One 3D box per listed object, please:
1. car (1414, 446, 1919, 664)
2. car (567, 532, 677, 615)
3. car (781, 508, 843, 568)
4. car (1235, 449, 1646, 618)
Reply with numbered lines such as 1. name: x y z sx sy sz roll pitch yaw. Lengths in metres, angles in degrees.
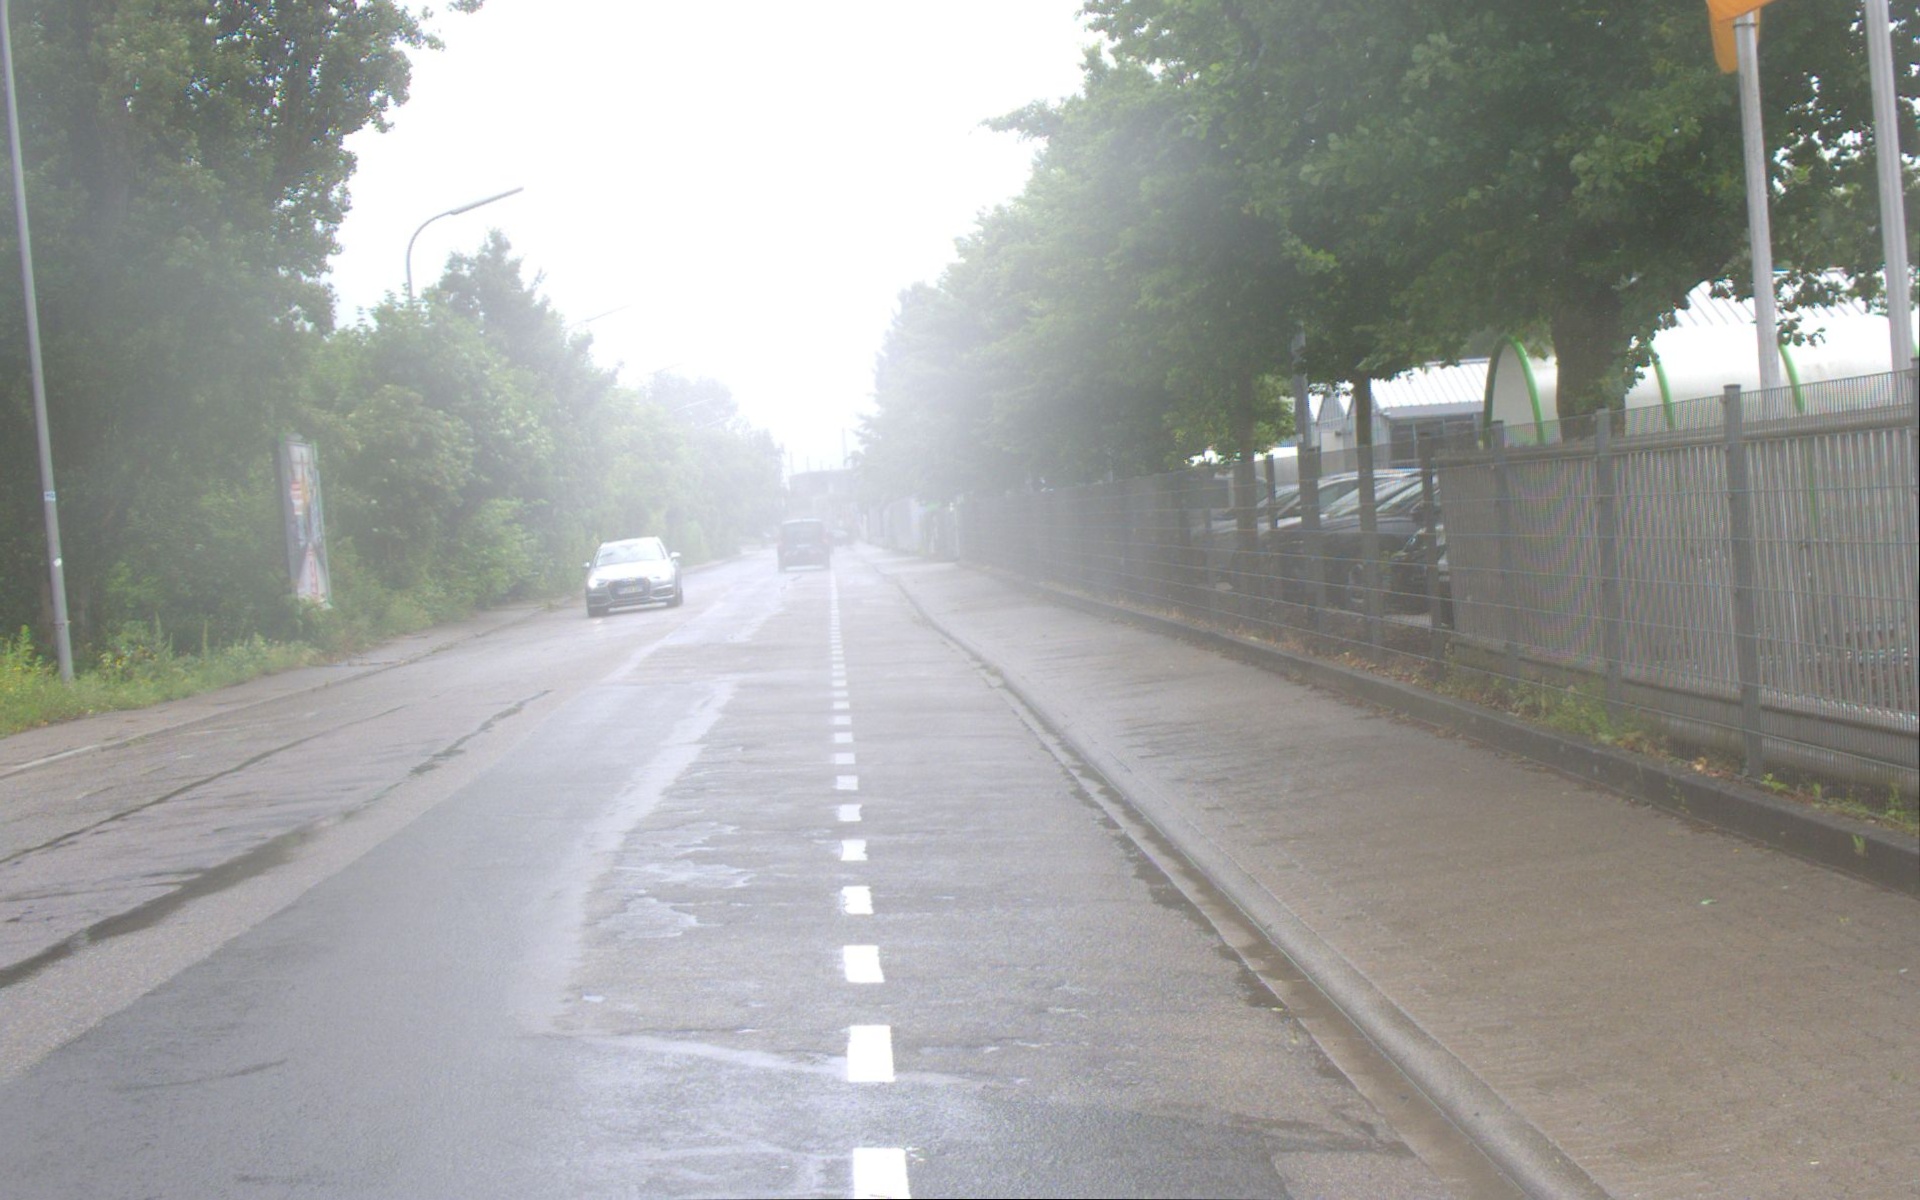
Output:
1. car: 6.308 -0.414 30.389 4.208 1.595 1.824 -4 1 -3
2. car: -6.807 -0.560 69.597 1.733 1.445 4.381 -6 1 -1
3. car: -5.219 -2.149 120.839 1.993 1.904 4.201 -4 0 -3
4. car: 5.437 -0.760 39.137 4.207 1.613 1.824 -4 1 -9
